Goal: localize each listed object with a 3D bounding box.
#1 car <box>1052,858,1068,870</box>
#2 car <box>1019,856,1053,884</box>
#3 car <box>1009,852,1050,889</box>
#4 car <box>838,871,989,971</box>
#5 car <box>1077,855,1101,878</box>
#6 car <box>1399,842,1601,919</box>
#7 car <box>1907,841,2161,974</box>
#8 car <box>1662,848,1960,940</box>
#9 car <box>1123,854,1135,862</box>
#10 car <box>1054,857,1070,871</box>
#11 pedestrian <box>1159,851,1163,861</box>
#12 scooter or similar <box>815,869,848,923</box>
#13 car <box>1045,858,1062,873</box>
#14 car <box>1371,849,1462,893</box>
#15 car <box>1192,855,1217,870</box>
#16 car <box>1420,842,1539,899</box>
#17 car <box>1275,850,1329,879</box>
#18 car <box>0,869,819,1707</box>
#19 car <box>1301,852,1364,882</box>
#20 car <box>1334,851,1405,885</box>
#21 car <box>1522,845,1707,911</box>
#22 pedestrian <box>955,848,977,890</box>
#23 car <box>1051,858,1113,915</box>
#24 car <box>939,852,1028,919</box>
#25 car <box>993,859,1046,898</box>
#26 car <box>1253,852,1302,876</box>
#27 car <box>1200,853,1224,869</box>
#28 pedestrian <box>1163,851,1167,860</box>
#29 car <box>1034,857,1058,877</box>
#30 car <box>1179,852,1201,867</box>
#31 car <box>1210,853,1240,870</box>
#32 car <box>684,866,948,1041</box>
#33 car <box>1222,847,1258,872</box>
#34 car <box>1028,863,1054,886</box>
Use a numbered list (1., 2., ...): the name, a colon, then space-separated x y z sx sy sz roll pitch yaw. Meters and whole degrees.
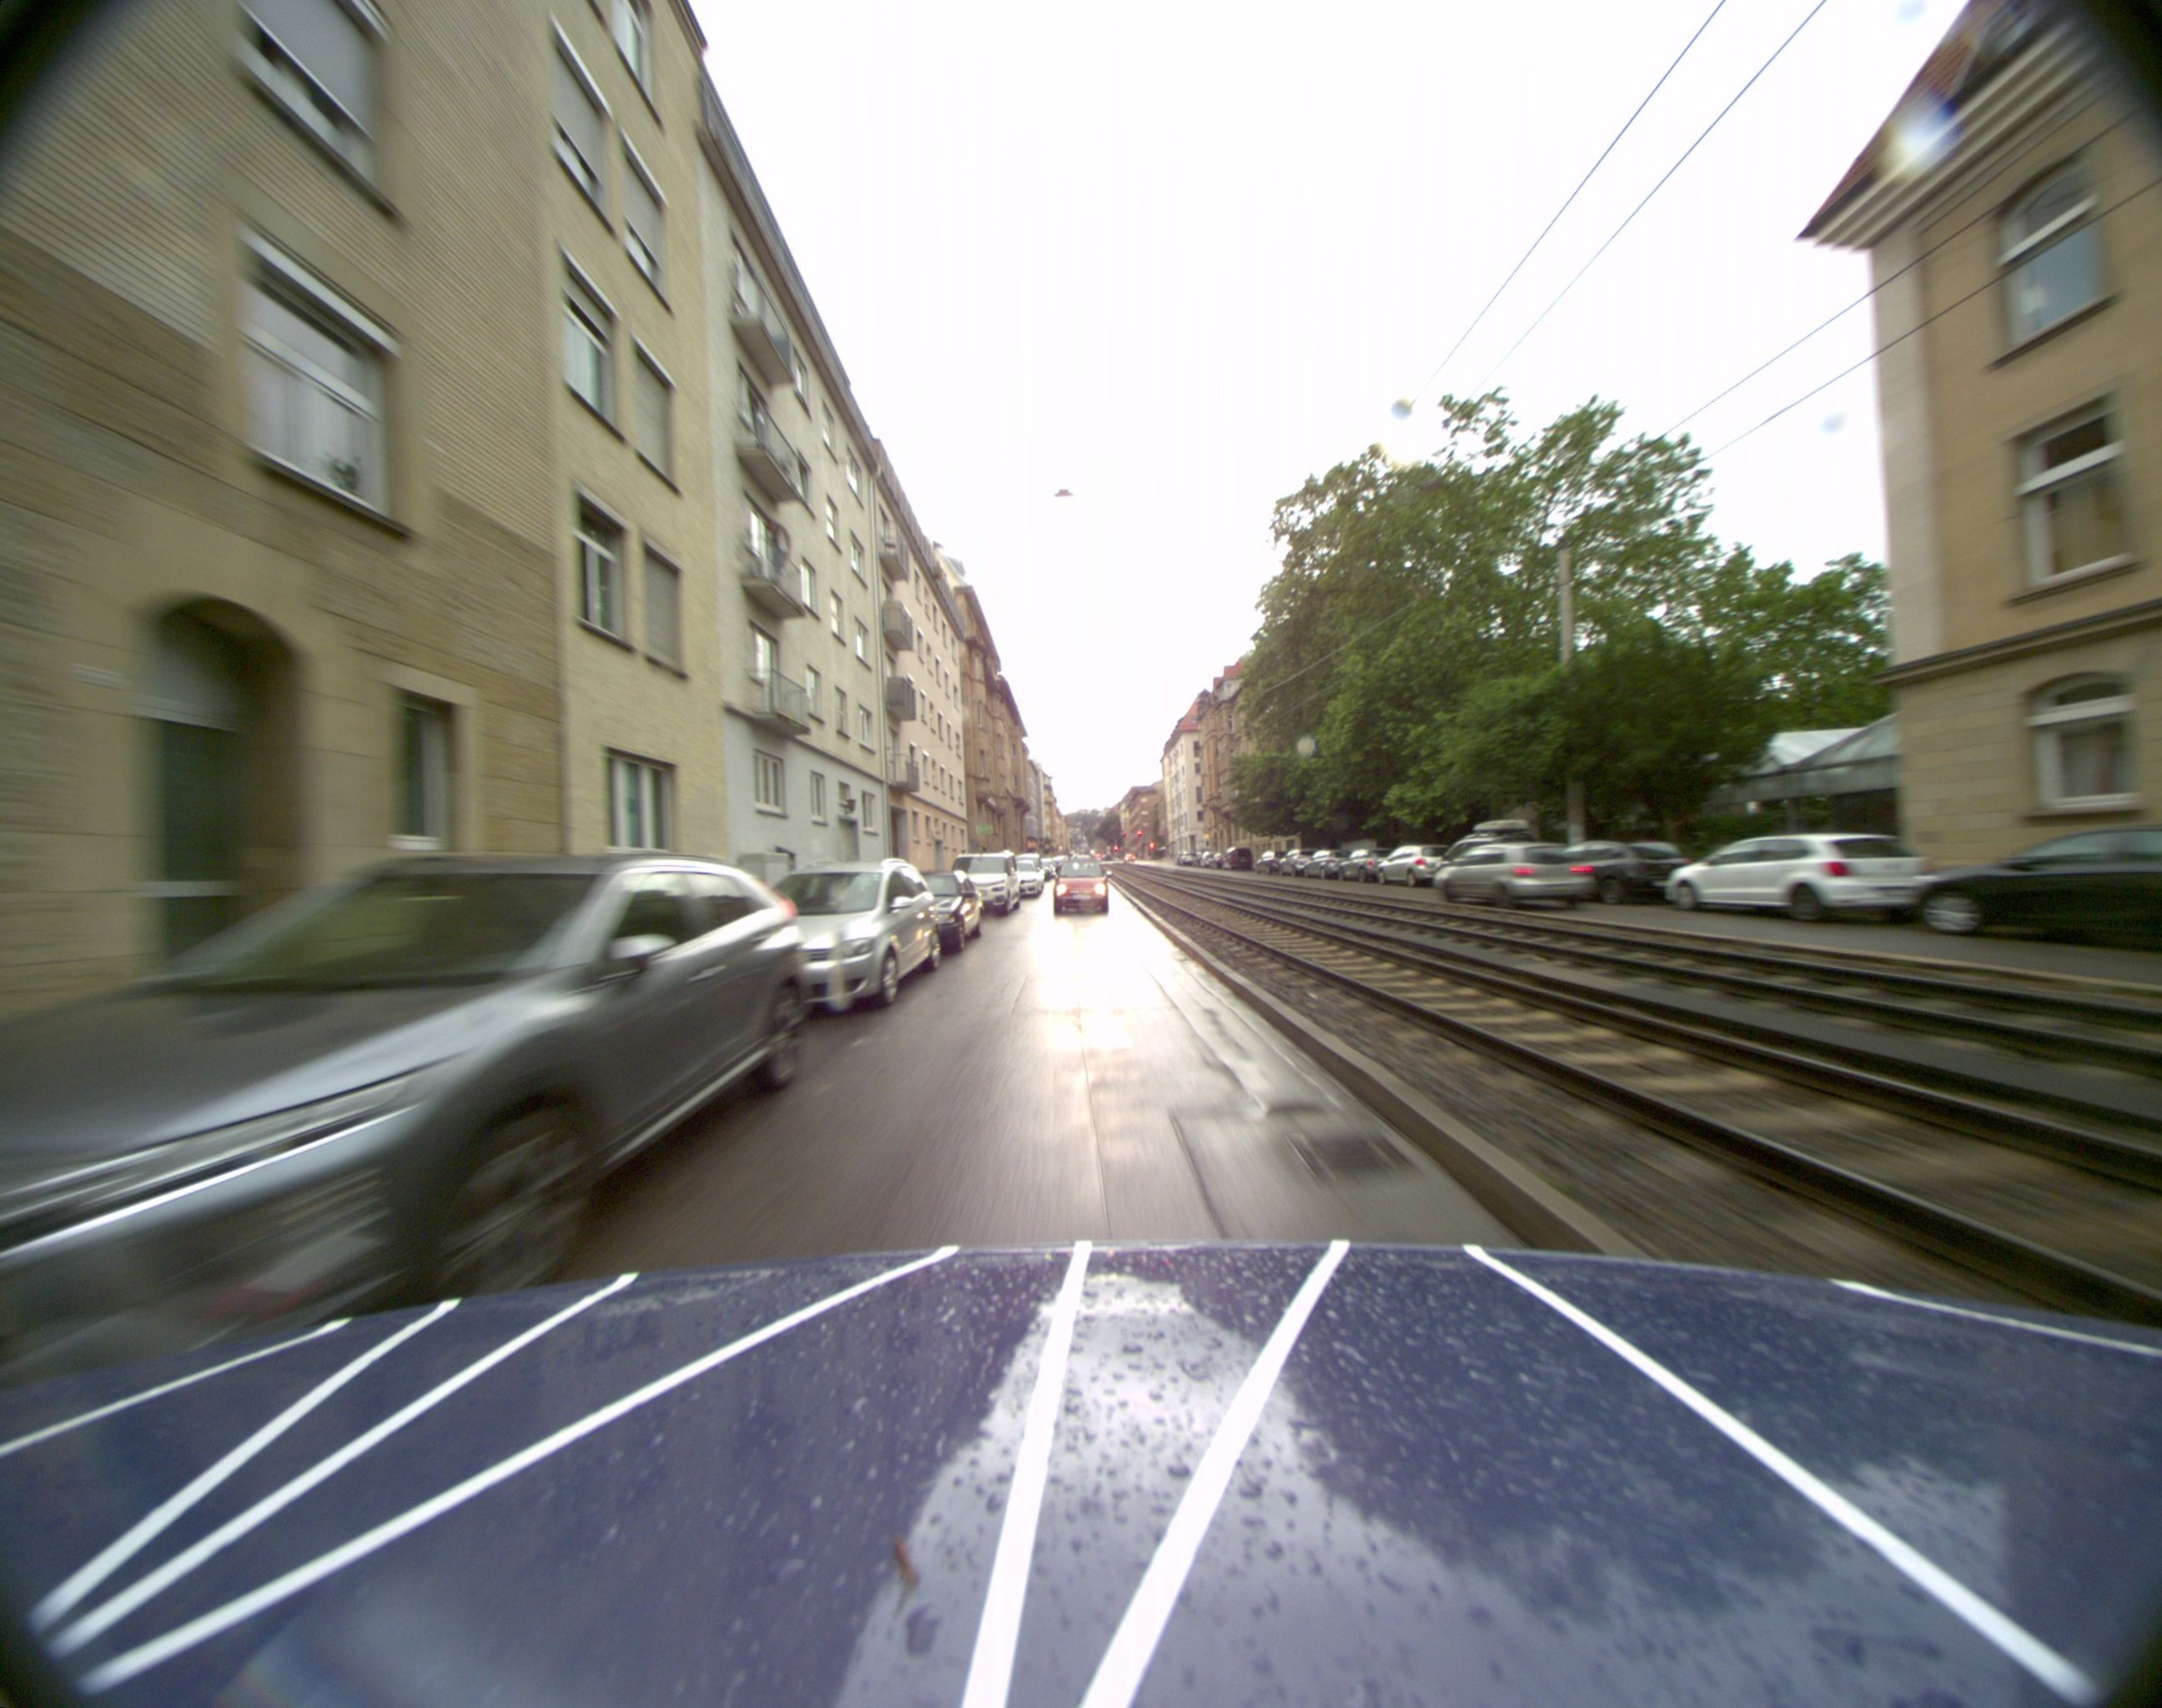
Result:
1. car: -2.488 1.118 87.998 1.759 1.379 4.484 0 0 -3
2. car: -2.494 0.888 42.782 1.574 1.453 3.599 -1 0 1
3. car: -2.519 0.787 38.186 1.795 1.755 4.211 -1 0 0
4. car: -2.838 1.083 13.859 1.722 1.339 4.461 -3 0 0
5. car: 0.754 1.152 72.238 2.135 2.002 4.328 -2 0 0
6. car: 9.553 0.541 17.850 1.822 1.496 4.631 -2 0 -6
7. car: 12.493 0.571 8.806 1.618 1.421 3.852 -1 0 0
8. car: 12.490 0.605 13.412 1.504 1.383 3.987 0 0 1
9. car: 9.149 0.703 144.361 1.987 1.448 4.294 -1 0 -1
10. car: -2.060 1.045 82.625 1.711 1.390 4.018 -2 0 -1
11. pedestrian: 14.654 0.339 139.788 0.603 1.708 0.746 -5 0 3
12. scooter or similar: -6.269 1.039 19.136 0.388 1.290 1.171 -1 0 1
13. car: -2.660 1.146 74.739 1.548 1.406 3.445 -2 0 -1
14. car: 12.379 0.581 28.316 1.543 1.496 4.154 0 0 -1
15. car: 12.666 0.854 78.286 1.875 1.499 4.169 -1 0 0
16. car: 12.412 0.469 23.977 1.580 1.633 4.071 0 0 -1
17. car: 12.438 0.559 43.027 1.758 1.527 4.542 0 0 0
18. car: -2.826 0.987 3.531 1.771 1.658 4.331 -3 0 -2
19. car: 12.481 0.610 37.991 1.759 1.405 4.153 0 0 -1
20. car: 12.453 0.573 33.051 1.543 1.405 3.952 0 0 -1
21. car: 12.553 0.509 18.228 1.679 1.405 4.010 0 0 1
22. pedestrian: -4.980 0.640 32.985 0.747 1.823 1.039 1 0 2
23. car: 0.031 0.903 23.064 1.683 1.531 4.018 -1 0 0
24. car: -2.746 0.841 22.401 1.833 1.740 4.467 -2 0 2
25. car: -2.491 0.965 31.927 1.876 1.447 4.902 -2 0 -1
26. car: 12.422 0.600 48.289 1.854 1.455 4.549 0 0 -2
27. car: 12.586 0.640 73.186 1.699 1.515 3.855 -1 0 1
28. pedestrian: 15.515 0.256 139.758 0.603 1.708 0.658 -5 0 3
29. car: -2.669 0.942 58.226 1.672 1.426 3.955 -1 0 -1
30. car: 12.678 0.594 88.499 1.863 1.643 4.314 -2 0 -1
31. car: 12.714 0.664 67.428 1.767 1.390 4.269 -1 0 -1
32. car: -2.866 0.976 9.206 1.697 1.520 4.000 -2 0 1
33. car: 12.675 0.417 60.790 1.805 1.836 4.818 -1 0 0
34. car: -2.717 1.370 52.439 1.674 1.402 4.311 -1 0 -1
